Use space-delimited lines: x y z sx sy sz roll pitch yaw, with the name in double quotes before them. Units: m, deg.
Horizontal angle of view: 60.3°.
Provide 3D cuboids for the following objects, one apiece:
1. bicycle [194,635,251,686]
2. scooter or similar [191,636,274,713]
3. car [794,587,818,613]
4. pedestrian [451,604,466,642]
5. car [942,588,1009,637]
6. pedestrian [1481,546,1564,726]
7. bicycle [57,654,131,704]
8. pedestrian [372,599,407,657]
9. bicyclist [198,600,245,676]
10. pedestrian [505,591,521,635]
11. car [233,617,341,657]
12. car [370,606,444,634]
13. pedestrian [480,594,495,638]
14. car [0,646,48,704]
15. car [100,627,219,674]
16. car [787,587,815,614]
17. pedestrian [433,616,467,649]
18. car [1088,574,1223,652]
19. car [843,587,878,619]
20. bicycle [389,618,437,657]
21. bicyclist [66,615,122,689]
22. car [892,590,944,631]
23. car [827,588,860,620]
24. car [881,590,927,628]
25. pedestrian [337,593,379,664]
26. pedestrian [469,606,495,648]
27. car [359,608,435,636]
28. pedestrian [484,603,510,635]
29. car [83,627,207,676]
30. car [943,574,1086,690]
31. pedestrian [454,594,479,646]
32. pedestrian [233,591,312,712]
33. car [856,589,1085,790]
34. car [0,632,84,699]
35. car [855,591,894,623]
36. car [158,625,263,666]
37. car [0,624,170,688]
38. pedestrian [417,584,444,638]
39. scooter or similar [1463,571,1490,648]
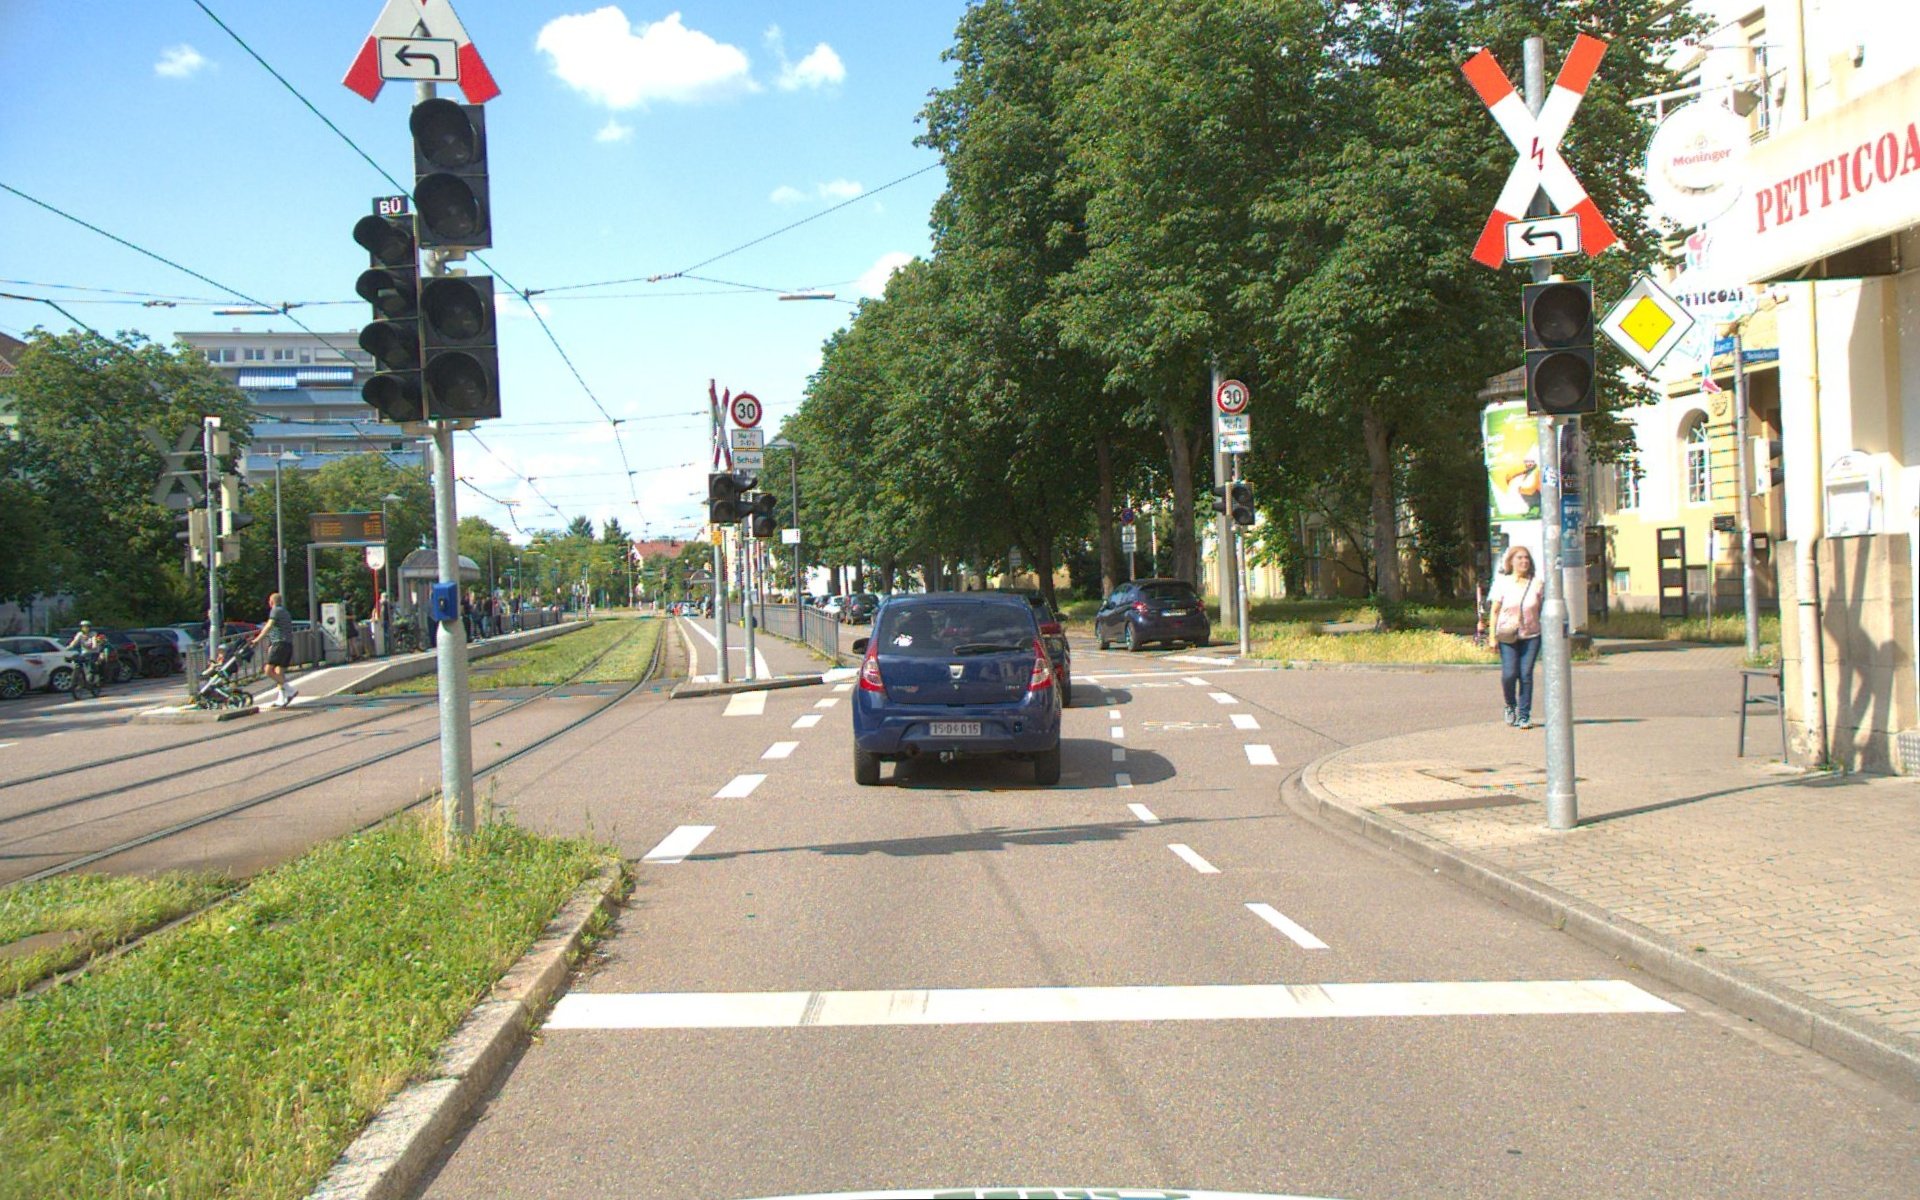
"bicycle" -20.640 1.684 46.315 1.136 1.197 1.780 -4 4 -16
"scooter or similar" -11.297 1.144 25.697 0.937 1.083 0.795 -5 1 -10
"car" -11.465 -0.008 122.888 1.635 1.802 3.995 -3 0 -6
"pedestrian" -19.759 0.911 65.175 0.481 1.477 0.461 -3 0 -20
"car" 0.489 0.391 55.511 1.825 1.470 3.997 -4 1 -4
"pedestrian" 5.435 0.339 15.989 0.658 1.677 0.764 -3 0 19
"bicycle" -19.509 1.761 37.305 0.667 0.987 2.176 -3 0 -6
"pedestrian" -16.271 0.800 47.162 0.650 1.596 0.685 -4 0 -2
"bicyclist" -20.661 1.057 46.313 0.932 2.048 1.569 -3 0 -17
"pedestrian" -20.985 0.603 77.647 0.649 2.048 0.800 -3 0 -15
"car" -28.907 1.577 71.117 1.684 1.391 3.981 -3 1 39
"car" -33.791 1.229 101.096 3.970 1.472 1.700 -3 1 -44
"pedestrian" -18.772 0.637 65.691 0.481 1.742 0.461 -3 0 -20
"car" -23.002 1.796 37.870 1.516 1.257 3.370 -2 1 41
"car" -26.577 1.671 54.971 1.426 1.332 3.236 -2 1 34
"car" -11.192 0.026 116.775 1.794 1.792 3.997 -3 0 -4
"pedestrian" -17.018 1.087 55.197 0.907 1.006 0.796 -4 -1 -8
"car" 4.087 0.260 35.256 1.734 1.458 3.894 -4 1 -10
"car" -5.434 0.141 89.921 1.792 1.564 3.997 -3 1 -4
"bicycle" -15.552 1.052 47.052 0.672 0.991 1.771 -5 1 0
"bicyclist" -19.555 1.163 37.357 0.770 1.609 0.862 -3 0 -6
"car" -1.752 0.418 67.397 1.825 1.470 3.997 -4 1 -4
"car" -6.943 0.237 98.145 1.588 1.780 3.992 -3 0 -9
"car" -2.469 0.380 72.092 1.815 1.542 3.997 -3 0 -4
"pedestrian" -15.324 0.714 42.090 0.699 1.756 0.666 -2 0 32
"pedestrian" -17.159 0.960 59.367 0.641 1.450 0.562 -3 0 27
"car" -32.689 1.251 96.045 1.606 1.410 3.987 -2 1 35
"pedestrian" -21.960 0.898 78.374 1.016 1.462 0.698 -4 1 -24
"car" -25.799 1.611 52.412 1.425 1.332 3.239 -2 1 32
"car" 0.653 0.365 21.992 1.665 1.391 3.513 -1 1 -2
"pedestrian" -17.547 0.715 58.815 0.592 1.796 0.639 -3 0 -1
"pedestrian" -10.804 0.792 26.032 0.855 1.806 1.001 -3 0 -11
"car" 0.061 0.670 14.501 1.732 1.487 3.775 -1 1 -1
"car" -23.755 1.652 40.874 1.517 1.531 3.369 -3 0 42
"car" -4.370 0.366 84.274 1.825 1.470 3.996 -4 -1 -4
"car" -27.665 1.675 61.086 1.426 1.332 3.236 -2 1 34
"car" -24.540 1.558 46.360 1.659 1.482 3.980 -3 1 40
"pedestrian" -17.219 0.350 53.807 0.643 1.721 0.655 -3 0 -9
"scooter or similar" 8.452 0.144 27.076 0.299 1.210 1.163 -2 0 13
